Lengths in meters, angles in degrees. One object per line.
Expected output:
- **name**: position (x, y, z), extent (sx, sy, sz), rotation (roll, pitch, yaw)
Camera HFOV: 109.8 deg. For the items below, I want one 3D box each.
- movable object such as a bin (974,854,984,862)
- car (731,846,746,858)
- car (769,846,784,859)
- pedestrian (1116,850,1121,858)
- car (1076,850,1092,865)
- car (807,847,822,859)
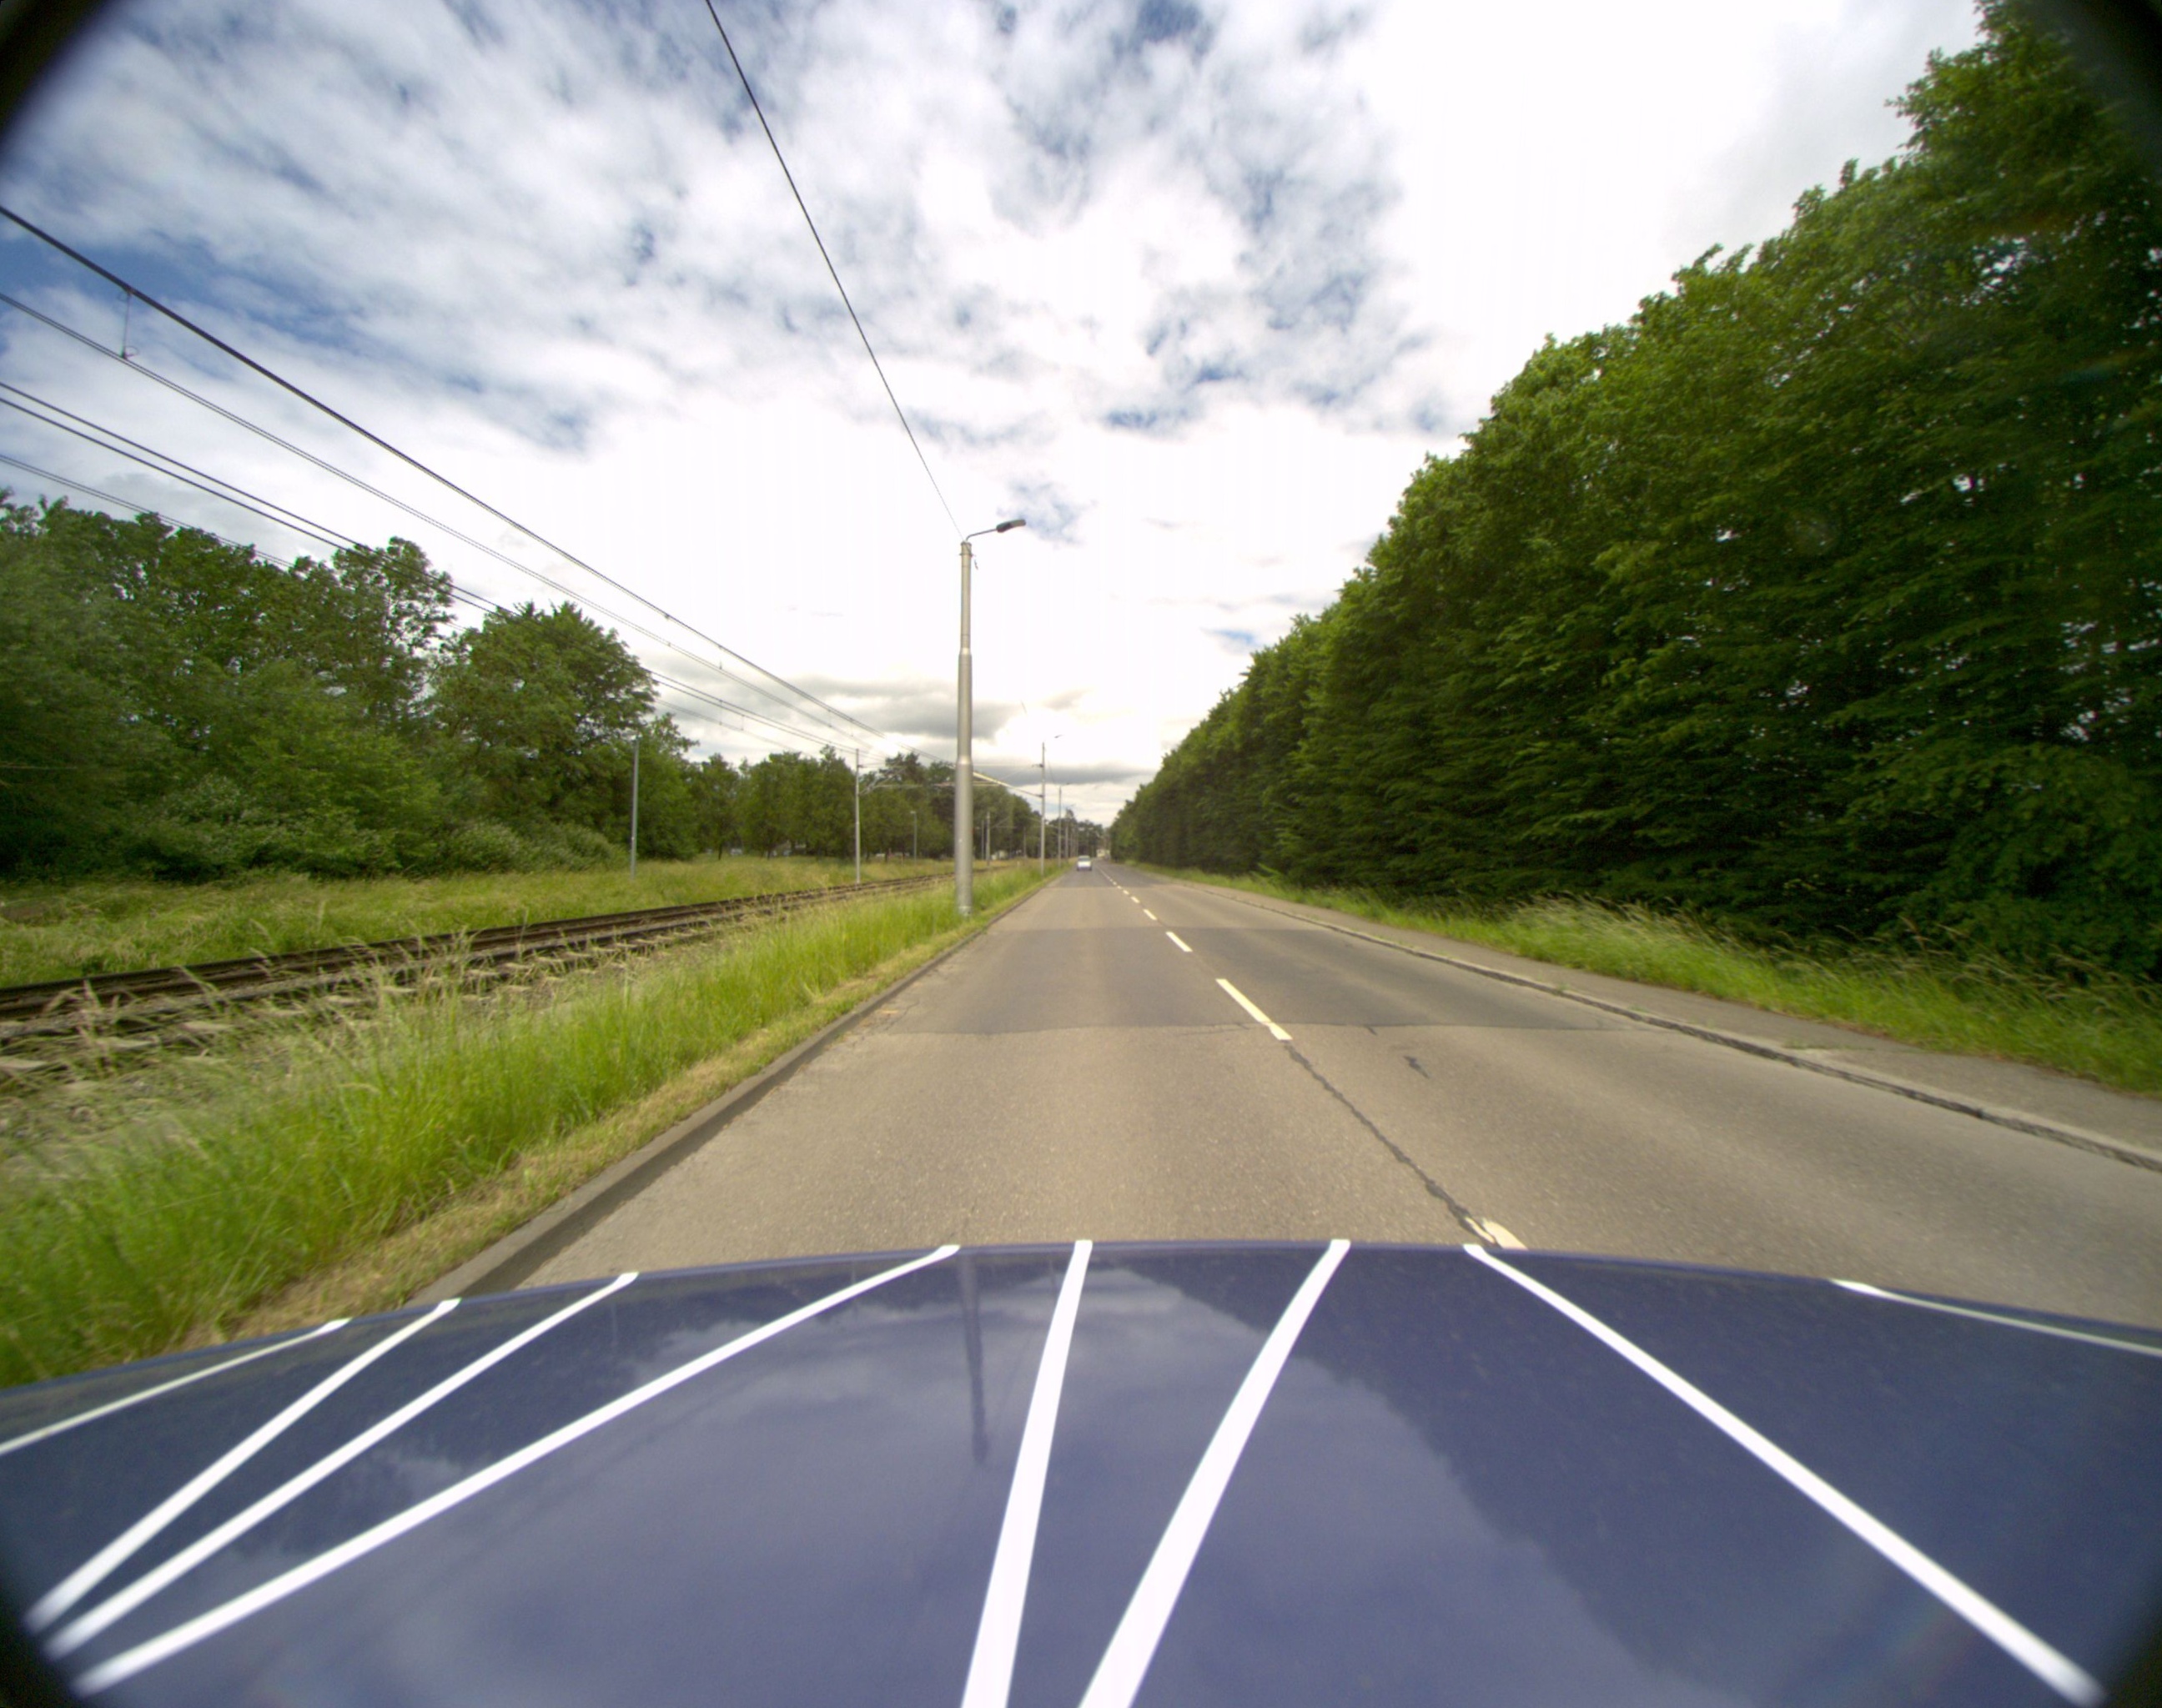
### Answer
- **movable object such as a bin**: position (-16.771, 0.657, 125.344), extent (0.658, 1.303, 1.646), rotation (2, 1, 42)
- **car**: position (-50.459, -0.285, 112.072), extent (2.003, 1.801, 3.991), rotation (0, 0, -24)
- **car**: position (-45.734, -0.228, 114.030), extent (2.003, 1.801, 3.991), rotation (0, 0, -24)
- **pedestrian**: position (8.004, 0.002, 163.404), extent (0.870, 1.759, 0.789), rotation (1, 1, -8)
- **car**: position (0.281, 0.366, 85.751), extent (1.734, 1.638, 4.226), rotation (0, -1, -1)
- **car**: position (-40.267, -0.146, 114.866), extent (1.750, 1.793, 3.996), rotation (0, 0, -12)
